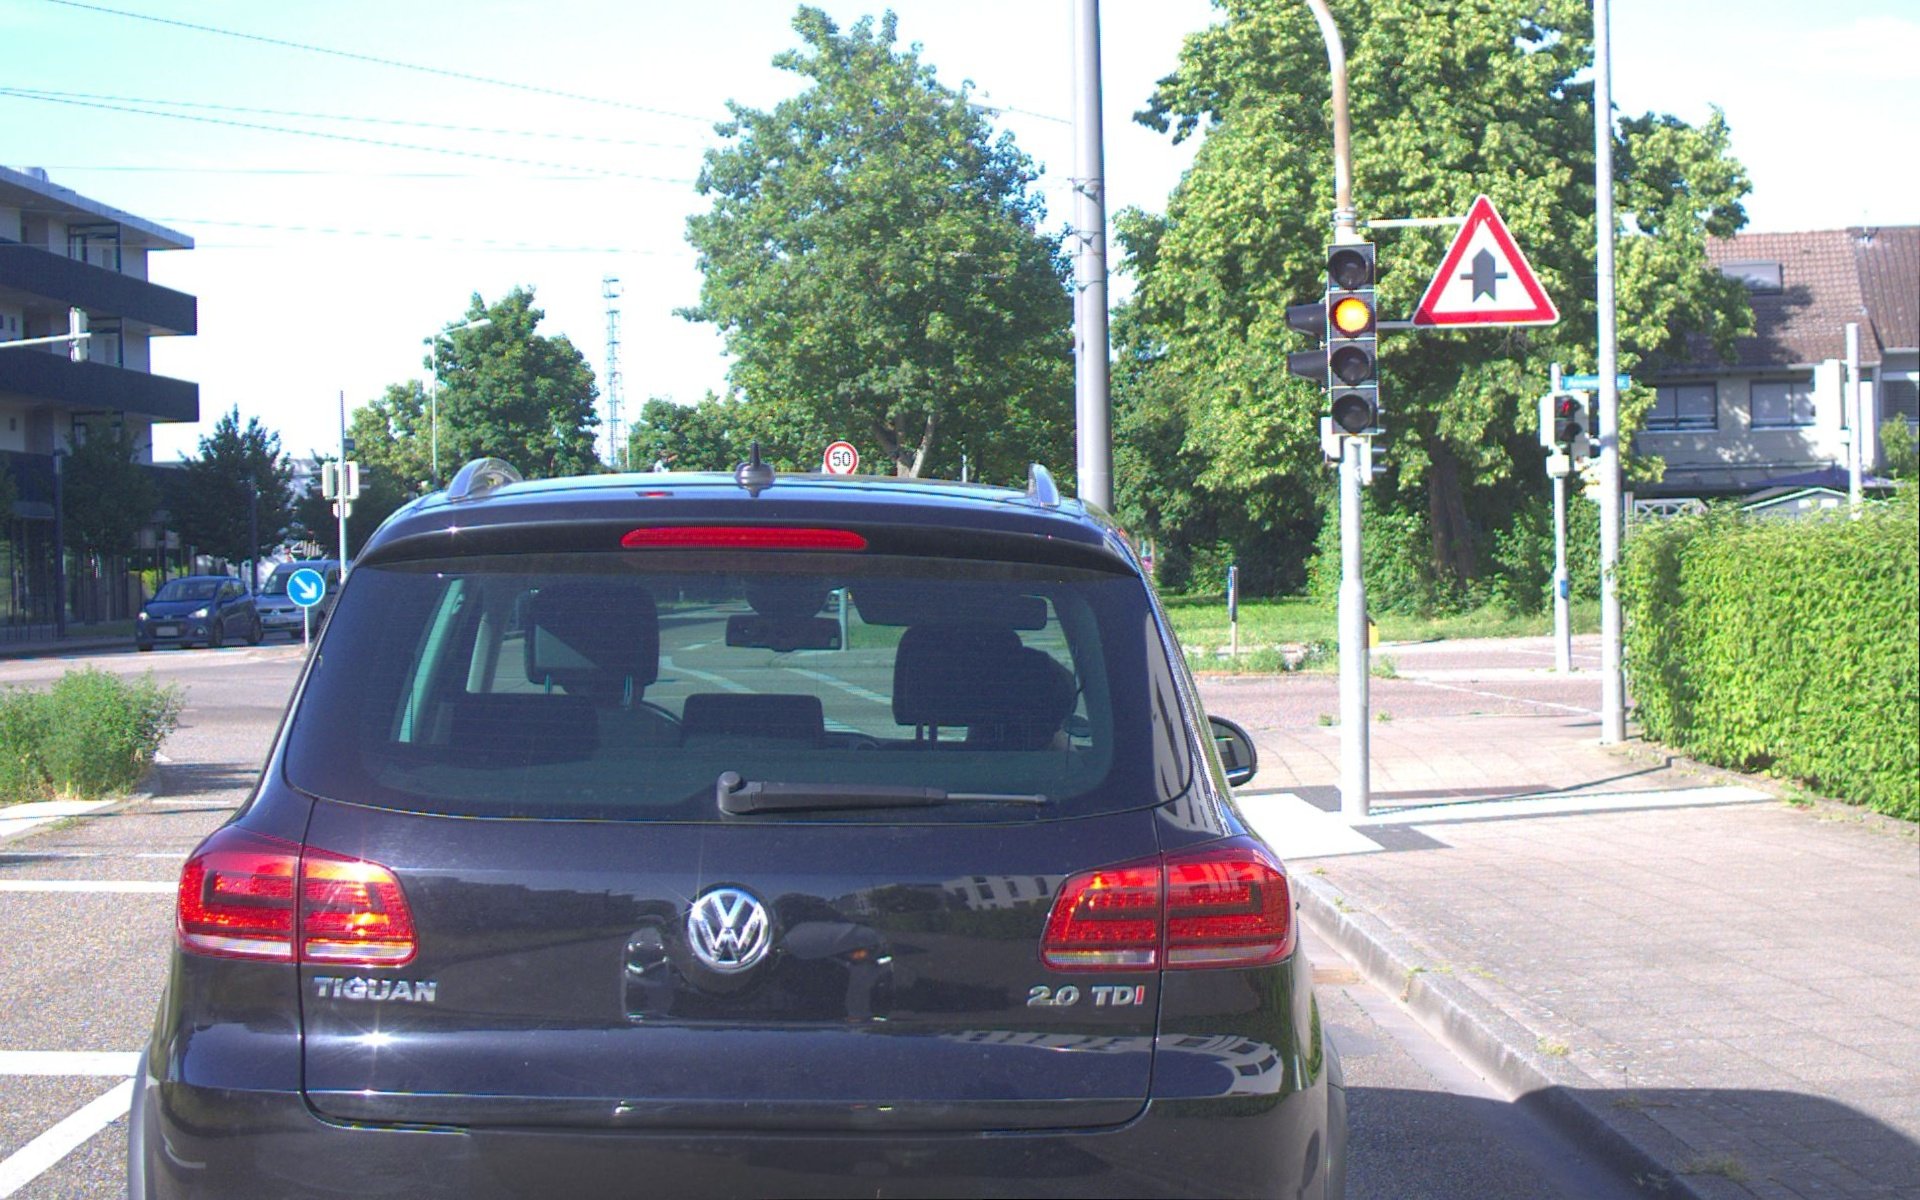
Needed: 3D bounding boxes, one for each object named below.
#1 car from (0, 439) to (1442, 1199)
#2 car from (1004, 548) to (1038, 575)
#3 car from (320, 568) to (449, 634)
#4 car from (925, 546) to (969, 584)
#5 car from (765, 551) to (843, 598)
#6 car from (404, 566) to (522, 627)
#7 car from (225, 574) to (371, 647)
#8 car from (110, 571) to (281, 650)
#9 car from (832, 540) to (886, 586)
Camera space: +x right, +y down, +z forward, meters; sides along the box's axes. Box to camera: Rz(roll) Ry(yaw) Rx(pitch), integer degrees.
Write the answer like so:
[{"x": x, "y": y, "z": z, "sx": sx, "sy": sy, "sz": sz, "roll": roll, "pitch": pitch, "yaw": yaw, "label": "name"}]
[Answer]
[{"x": -0.339, "y": 0.598, "z": 6.480, "sx": 1.869, "sy": 1.632, "sz": 4.000, "roll": 1, "pitch": 1, "yaw": -1, "label": "car"}, {"x": 3.976, "y": -2.522, "z": 225.075, "sx": 1.993, "sy": 1.678, "sz": 4.000, "roll": 1, "pitch": 1, "yaw": -2, "label": "car"}, {"x": -14.193, "y": 0.011, "z": 85.004, "sx": 1.994, "sy": 1.569, "sz": 4.338, "roll": 1, "pitch": 1, "yaw": 7, "label": "car"}, {"x": -0.633, "y": -1.726, "z": 170.402, "sx": 1.994, "sy": 1.830, "sz": 4.000, "roll": 1, "pitch": 1, "yaw": 3, "label": "car"}, {"x": -5.114, "y": -0.847, "z": 113.166, "sx": 1.864, "sy": 1.480, "sz": 4.109, "roll": -1, "pitch": 1, "yaw": 7, "label": "car"}, {"x": -13.124, "y": -0.108, "z": 91.053, "sx": 1.994, "sy": 1.569, "sz": 4.338, "roll": 1, "pitch": 1, "yaw": 7, "label": "car"}, {"x": -15.008, "y": 0.210, "z": 78.154, "sx": 1.994, "sy": 1.569, "sz": 4.338, "roll": 1, "pitch": 1, "yaw": 7, "label": "car"}, {"x": -15.852, "y": 0.187, "z": 71.514, "sx": 1.994, "sy": 1.569, "sz": 4.337, "roll": 1, "pitch": 1, "yaw": 9, "label": "car"}, {"x": -3.884, "y": -1.445, "z": 132.816, "sx": 1.864, "sy": 1.714, "sz": 3.687, "roll": -1, "pitch": 1, "yaw": 1, "label": "car"}]
